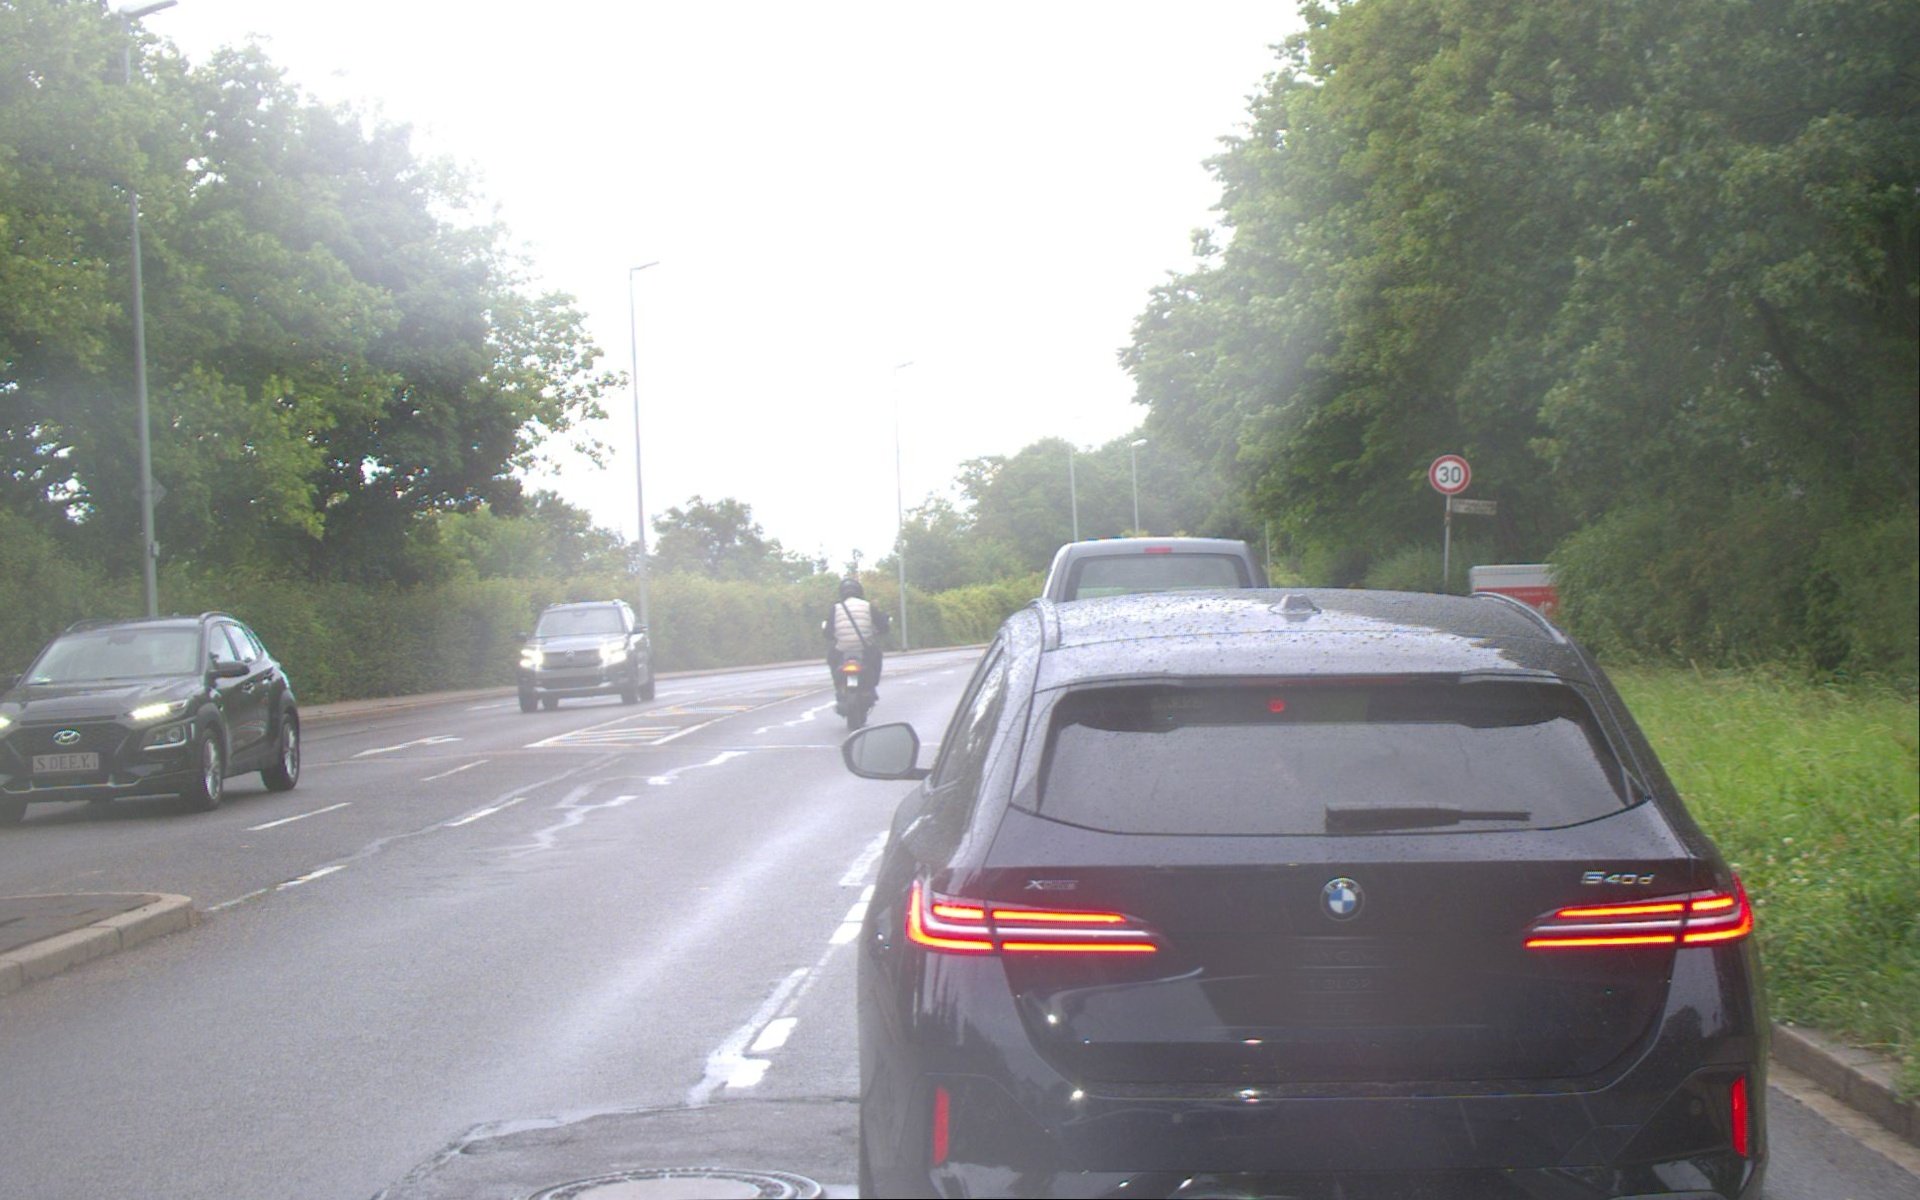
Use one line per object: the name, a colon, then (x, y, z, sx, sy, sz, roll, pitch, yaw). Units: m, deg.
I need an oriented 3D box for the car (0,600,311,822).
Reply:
car: (-6.724, 0.853, 27.796, 2.025, 1.558, 3.877, -4, 0, 2)

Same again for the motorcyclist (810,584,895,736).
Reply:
motorcyclist: (-1.178, 0.657, 37.891, 0.845, 1.641, 0.468, -2, 1, 3)

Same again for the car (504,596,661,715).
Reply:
car: (-5.636, 0.802, 51.744, 1.795, 1.597, 3.732, -4, 0, 1)

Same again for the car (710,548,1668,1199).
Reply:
car: (0.519, 0.678, 8.279, 1.764, 1.531, 3.672, -1, 0, 3)

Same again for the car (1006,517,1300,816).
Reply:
car: (1.283, 0.363, 23.130, 1.767, 1.804, 3.905, -1, 1, 3)

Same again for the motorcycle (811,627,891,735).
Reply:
motorcycle: (-1.192, 0.879, 37.887, 0.741, 1.116, 1.426, -1, 1, 3)
